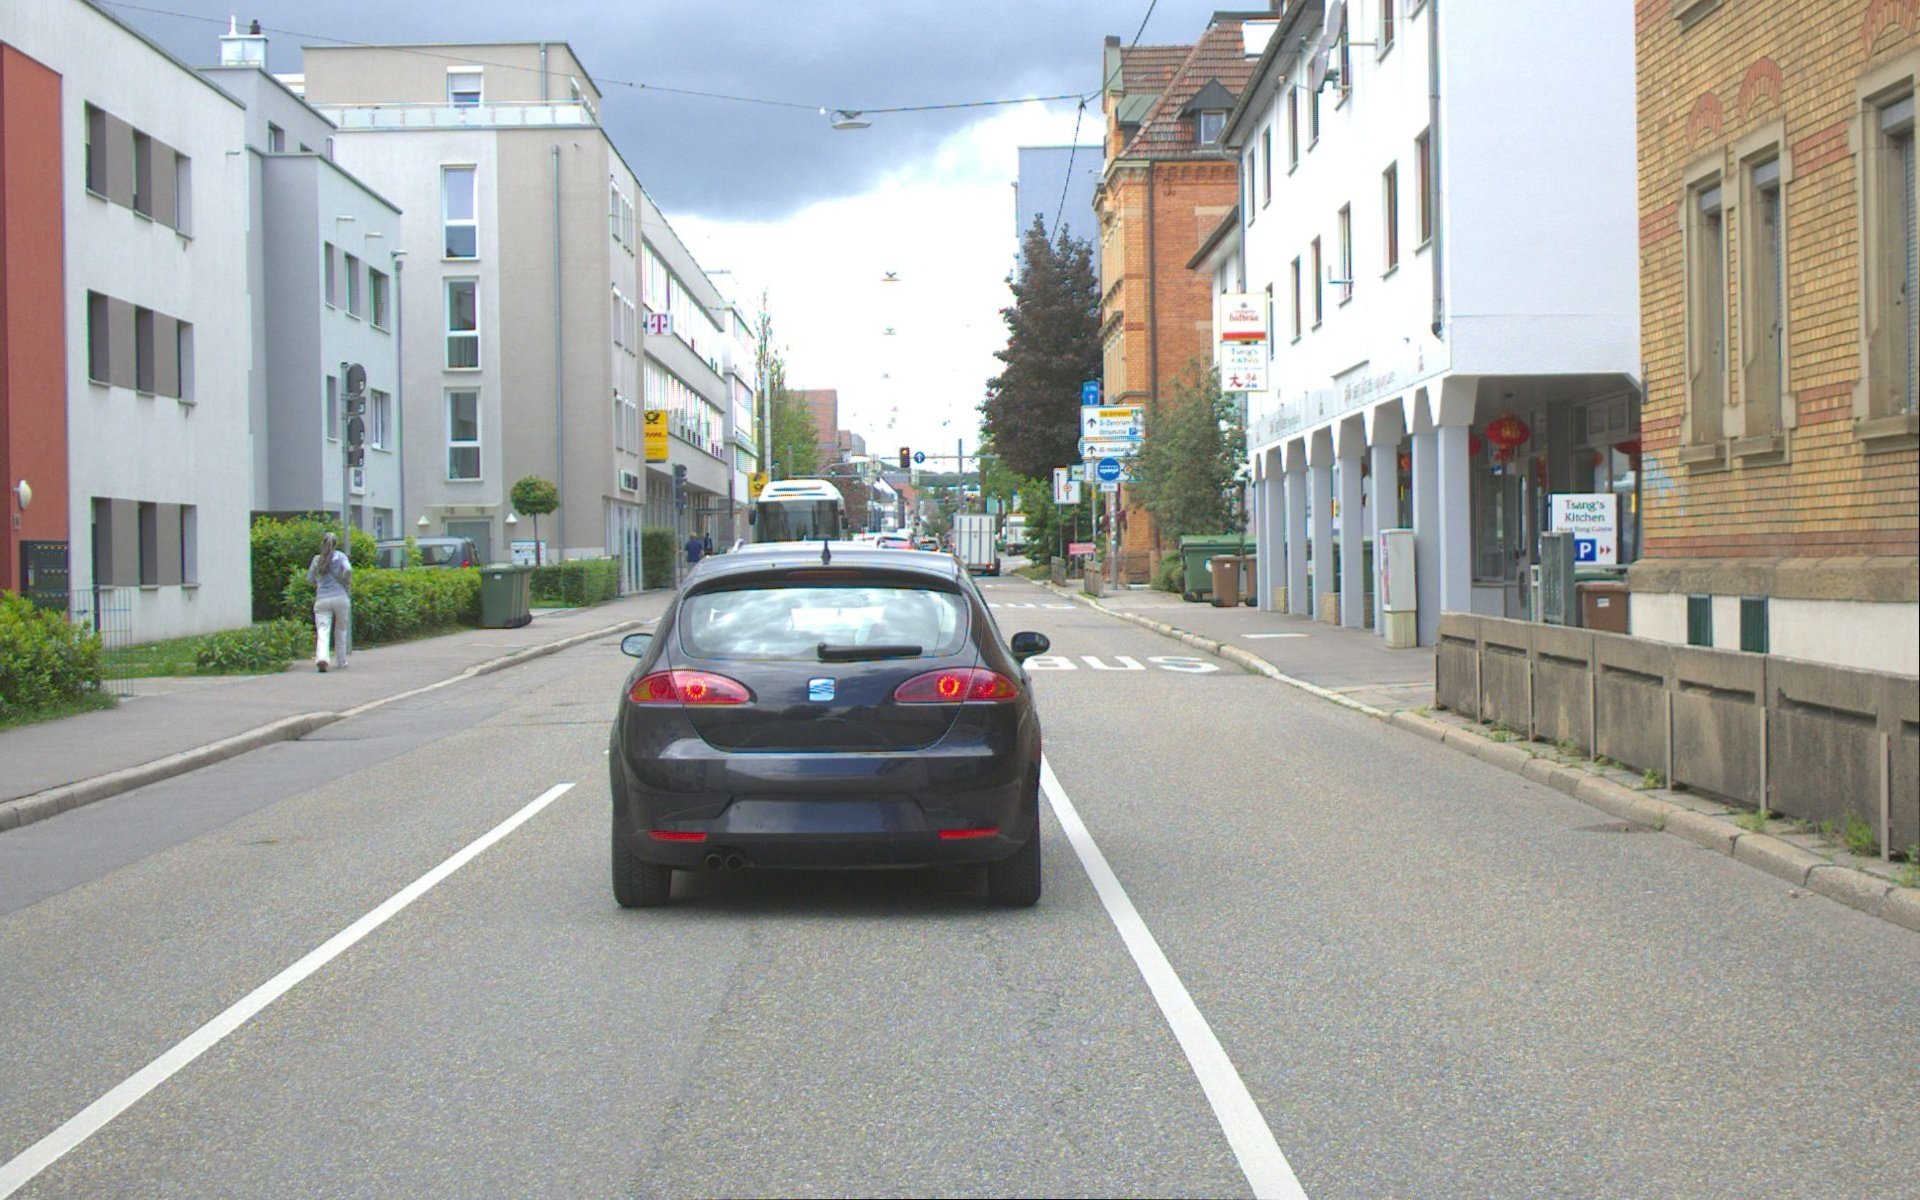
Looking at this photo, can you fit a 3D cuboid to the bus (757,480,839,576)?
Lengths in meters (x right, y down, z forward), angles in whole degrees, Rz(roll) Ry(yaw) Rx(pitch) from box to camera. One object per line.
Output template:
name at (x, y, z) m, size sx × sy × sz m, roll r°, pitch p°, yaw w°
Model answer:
bus at (-5.045, -2.219, 107.937) m, size 2.210 × 2.876 × 8.920 m, roll 1°, pitch 1°, yaw -1°

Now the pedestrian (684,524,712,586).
pedestrian at (-7.427, -1.276, 97.611) m, size 0.730 × 1.723 × 0.859 m, roll 1°, pitch 0°, yaw -1°

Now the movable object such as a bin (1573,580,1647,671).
movable object such as a bin at (6.090, 0.234, 32.210) m, size 0.592 × 0.837 × 0.458 m, roll 1°, pitch 0°, yaw -1°

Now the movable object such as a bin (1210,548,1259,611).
movable object such as a bin at (5.633, -0.422, 70.592) m, size 0.928 × 1.279 × 0.883 m, roll 1°, pitch 0°, yaw 0°

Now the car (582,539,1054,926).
car at (-0.559, 0.477, 14.949) m, size 1.759 × 1.437 × 4.000 m, roll 1°, pitch 1°, yaw -1°

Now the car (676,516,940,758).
car at (-1.107, 0.239, 26.313) m, size 1.842 × 1.687 × 4.000 m, roll 1°, pitch 1°, yaw -1°

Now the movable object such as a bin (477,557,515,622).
movable object such as a bin at (-7.809, -0.176, 57.894) m, size 0.549 × 1.075 × 0.612 m, roll 1°, pitch 0°, yaw 0°

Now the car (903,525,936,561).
car at (-1.925, -2.736, 163.628) m, size 1.531 × 1.687 × 3.693 m, roll -1°, pitch 1°, yaw -1°

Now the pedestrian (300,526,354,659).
pedestrian at (-7.401, -0.088, 40.212) m, size 0.526 × 1.542 × 0.541 m, roll 1°, pitch 0°, yaw -1°

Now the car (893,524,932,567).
car at (-1.899, -2.175, 137.309) m, size 1.531 × 1.687 × 3.693 m, roll -1°, pitch 1°, yaw -1°

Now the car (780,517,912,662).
car at (-1.379, -0.143, 42.333) m, size 1.531 × 1.687 × 3.693 m, roll 1°, pitch 1°, yaw -1°

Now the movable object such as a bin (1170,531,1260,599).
movable object such as a bin at (5.544, -0.767, 74.973) m, size 1.818 × 1.432 × 1.993 m, roll 1°, pitch 1°, yaw 0°
